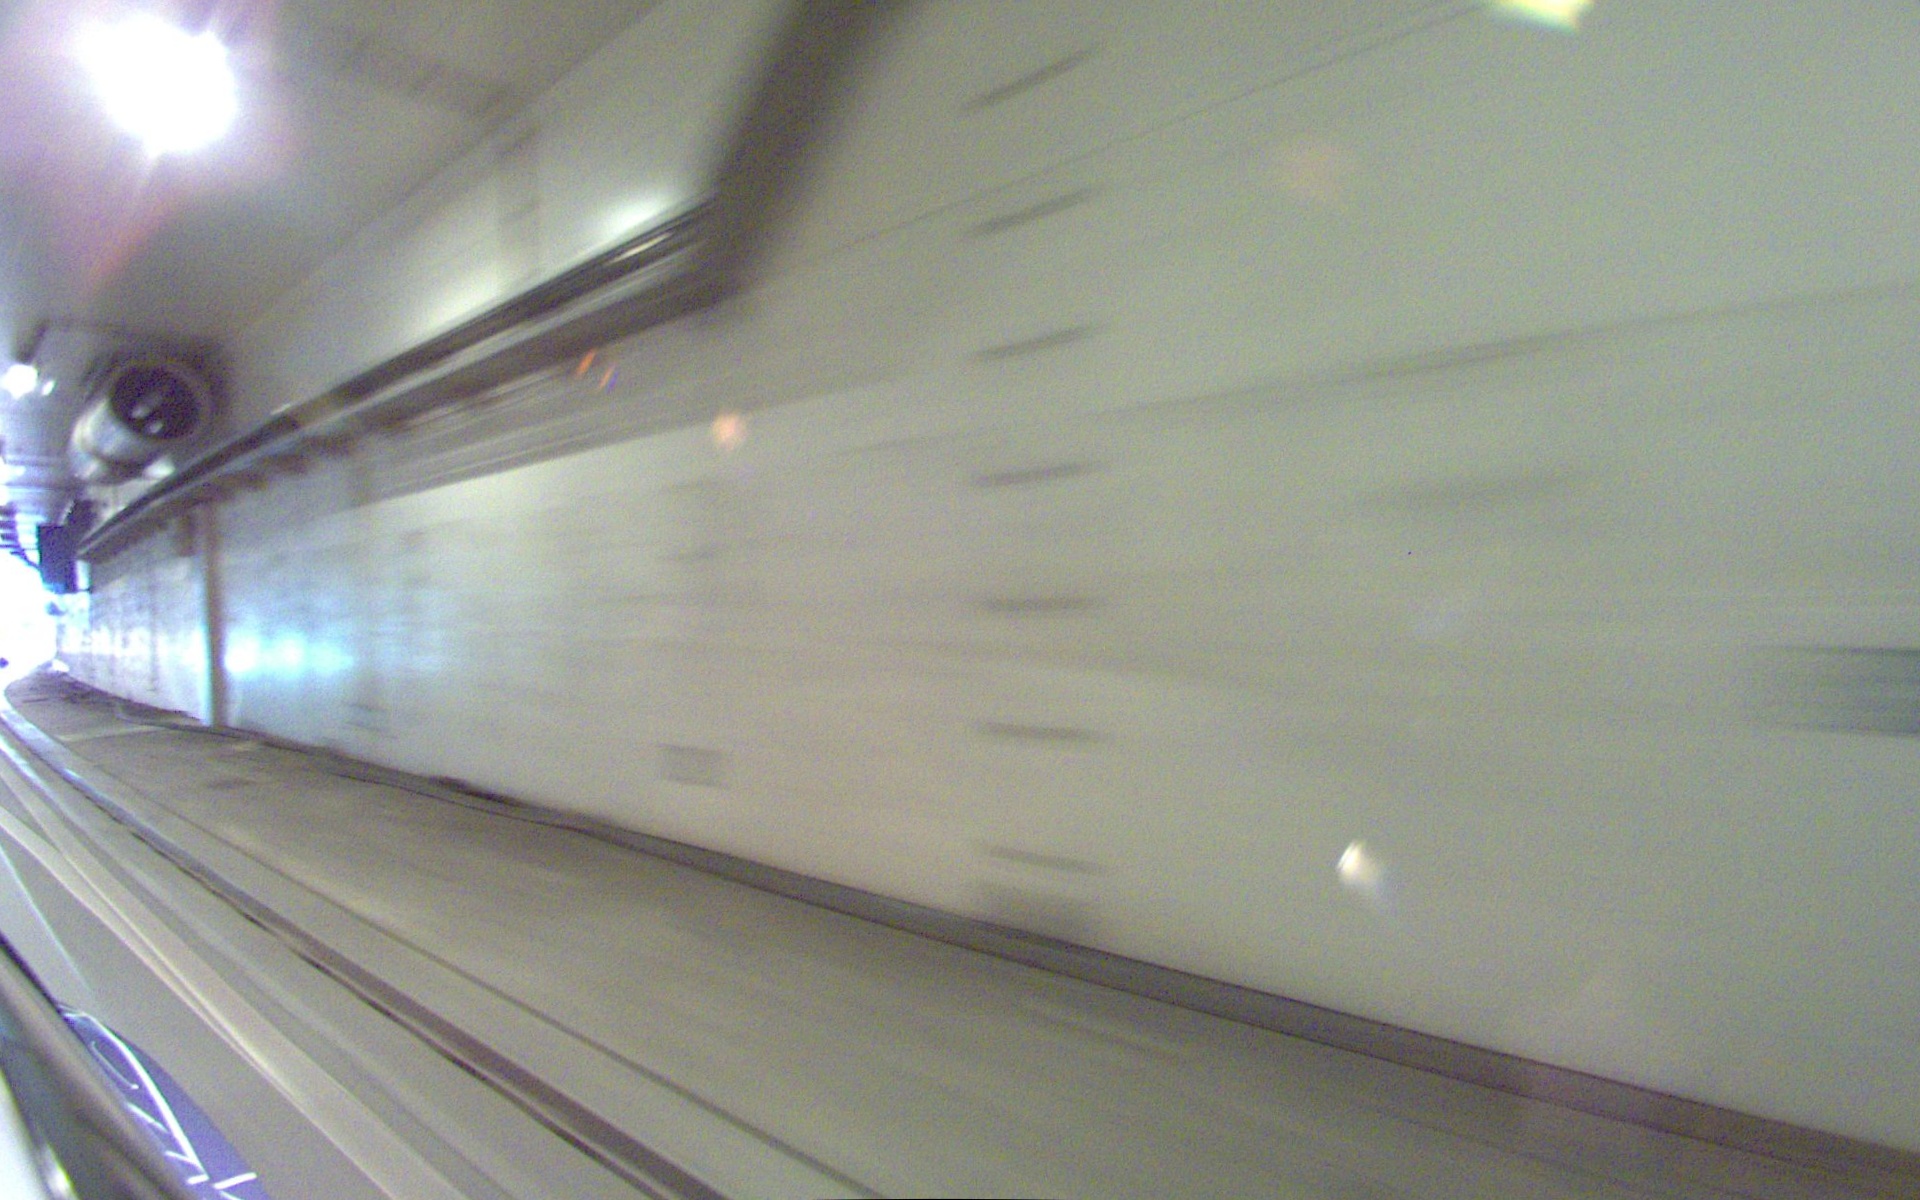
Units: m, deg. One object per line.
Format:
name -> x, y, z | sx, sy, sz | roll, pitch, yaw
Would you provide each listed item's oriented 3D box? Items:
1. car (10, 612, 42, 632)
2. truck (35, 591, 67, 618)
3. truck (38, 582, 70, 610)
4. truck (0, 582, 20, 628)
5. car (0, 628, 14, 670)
car -> -91.318, 2.153, 98.988 | 1.921, 1.544, 4.009 | -4, 5, -38
truck -> -106.338, 0.471, 118.438 | 2.106, 2.748, 5.685 | -4, 4, -37
truck -> -120.557, -0.593, 134.671 | 2.455, 3.413, 6.391 | -4, 4, -37
truck -> -103.570, 0.478, 108.494 | 2.843, 4.504, 10.477 | -4, 4, -37
car -> -48.354, 2.461, 49.958 | 1.906, 1.943, 4.206 | -4, 2, -37
